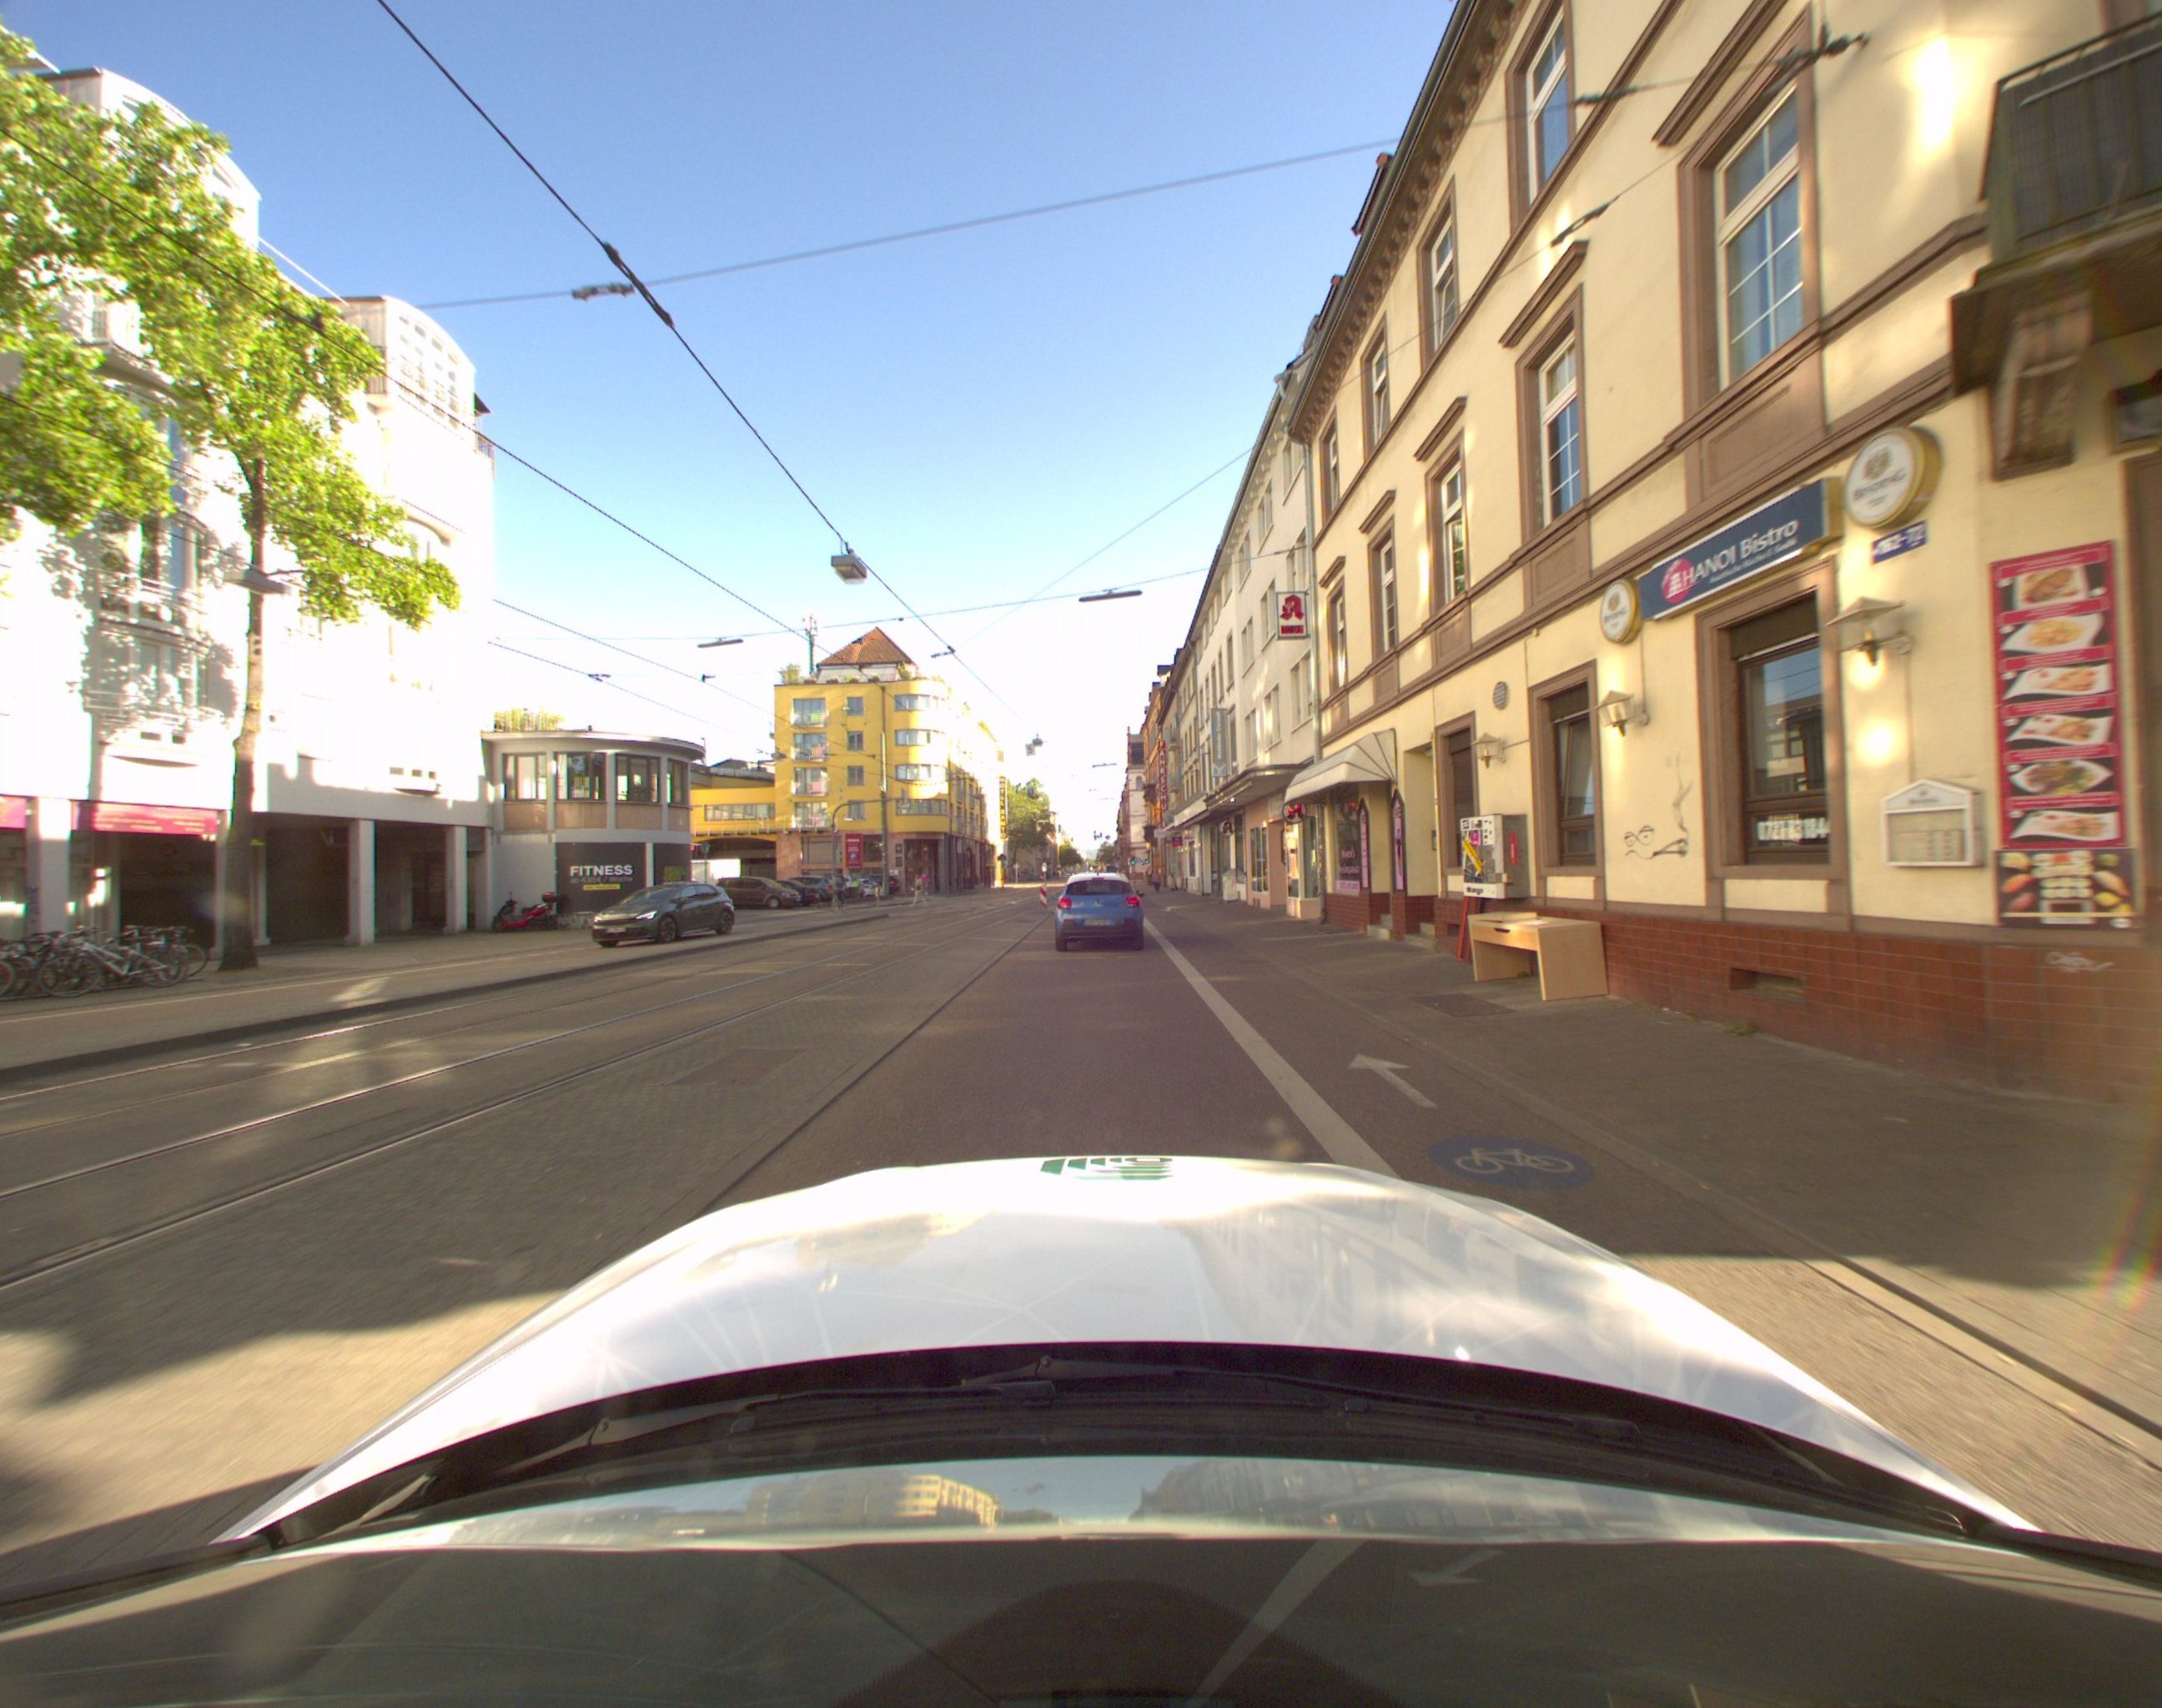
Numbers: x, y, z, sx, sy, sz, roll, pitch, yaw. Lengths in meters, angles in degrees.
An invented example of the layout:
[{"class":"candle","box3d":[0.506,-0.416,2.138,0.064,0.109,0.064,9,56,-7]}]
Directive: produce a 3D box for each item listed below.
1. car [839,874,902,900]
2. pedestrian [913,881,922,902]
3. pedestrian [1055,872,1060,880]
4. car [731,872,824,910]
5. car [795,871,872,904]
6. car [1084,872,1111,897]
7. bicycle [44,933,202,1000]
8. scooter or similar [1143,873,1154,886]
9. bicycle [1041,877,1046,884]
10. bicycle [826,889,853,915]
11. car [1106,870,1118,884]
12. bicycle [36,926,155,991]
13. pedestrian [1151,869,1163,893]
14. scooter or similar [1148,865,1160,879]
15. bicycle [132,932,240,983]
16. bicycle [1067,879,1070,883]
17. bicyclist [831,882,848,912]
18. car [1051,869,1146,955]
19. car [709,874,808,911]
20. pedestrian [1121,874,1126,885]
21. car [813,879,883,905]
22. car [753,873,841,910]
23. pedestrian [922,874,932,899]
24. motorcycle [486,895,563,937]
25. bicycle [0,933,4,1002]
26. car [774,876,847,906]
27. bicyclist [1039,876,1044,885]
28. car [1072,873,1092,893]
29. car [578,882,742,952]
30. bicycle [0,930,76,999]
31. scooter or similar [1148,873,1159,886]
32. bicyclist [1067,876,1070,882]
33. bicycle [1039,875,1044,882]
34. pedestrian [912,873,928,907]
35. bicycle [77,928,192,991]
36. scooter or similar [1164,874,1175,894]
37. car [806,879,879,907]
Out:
[{"class":"car","box3d":[-15.847,2.475,61.477,4.219,1.812,1.785,-2,-2,0]},{"class":"pedestrian","box3d":[-12.845,2.936,63.937,0.570,1.617,0.499,-2,-2,-1]},{"class":"pedestrian","box3d":[-4.919,4.624,171.404,0.678,1.765,1.029,-2,-1,11]},{"class":"car","box3d":[-16.062,1.993,43.191,4.219,1.812,1.785,-2,-4,0]},{"class":"car","box3d":[-15.407,2.096,50.824,4.219,1.812,1.785,-3,-4,0]},{"class":"car","box3d":[1.029,1.971,52.436,1.662,1.478,3.999,-3,-2,0]},{"class":"bicycle","box3d":[-16.435,1.908,14.043,0.467,0.932,1.759,-2,-1,11]},{"class":"scooter or similar","box3d":[6.467,2.437,77.615,0.895,1.148,0.547,-6,-2,-1]},{"class":"bicycle","box3d":[-6.162,4.369,134.054,0.728,1.065,2.061,-2,-1,0]},{"class":"bicycle","box3d":[-11.372,2.248,38.400,0.561,1.123,2.004,-2,-1,2]},{"class":"car","box3d":[5.986,4.460,157.616,2.263,2.437,5.720,-2,-2,1]},{"class":"bicycle","box3d":[-17.716,1.883,14.647,1.862,1.077,0.466,-2,-2,9]},{"class":"pedestrian","box3d":[5.052,1.796,54.159,0.646,1.560,0.781,-2,-1,0]},{"class":"scooter or similar","box3d":[6.831,1.699,76.558,0.930,1.148,0.650,-6,-2,-1]},{"class":"bicycle","box3d":[-17.495,2.017,15.921,1.737,0.932,0.572,-2,-1,10]},{"class":"bicycle","box3d":[-3.118,6.747,203.818,0.690,1.120,2.083,-2,-1,0]},{"class":"bicyclist","box3d":[-11.387,2.013,38.434,0.560,1.361,0.719,-2,-1,1]},{"class":"car","box3d":[0.384,1.113,16.950,1.668,1.477,4.001,-3,-1,2]},{"class":"car","box3d":[-16.133,1.910,40.902,4.219,1.763,1.785,-1,-2,0]},{"class":"pedestrian","box3d":[7.419,4.452,141.864,0.703,1.783,0.672,1,-4,-2]},{"class":"car","box3d":[-16.017,2.637,56.177,4.219,1.548,1.785,-3,-4,0]},{"class":"car","box3d":[-16.009,2.119,46.014,4.219,1.812,1.785,-3,-3,0]},{"class":"pedestrian","box3d":[-12.111,2.555,64.073,0.635,1.947,0.709,-2,-2,-1]},{"class":"motorcycle","box3d":[-18.173,2.017,26.629,1.979,1.263,0.673,-1,-1,-5]},{"class":"bicycle","box3d":[-18.092,1.834,12.796,1.864,1.077,0.512,-2,-2,6]},{"class":"car","box3d":[-16.089,2.175,48.589,3.676,1.673,1.785,-2,-1,1]},{"class":"bicyclist","box3d":[-6.277,4.192,128.703,0.722,1.381,1.227,-1,-1,0]},{"class":"car","box3d":[0.099,3.054,86.055,1.987,2.014,3.999,-3,-2,0]},{"class":"car","box3d":[-11.171,1.611,22.008,1.770,1.540,4.275,-3,-1,7]},{"class":"bicycle","box3d":[-17.881,1.856,13.631,1.862,1.077,0.466,-2,-2,9]},{"class":"scooter or similar","box3d":[6.701,2.360,74.982,0.788,1.148,0.789,-6,-2,-1]},{"class":"bicyclist","box3d":[-3.128,6.223,203.703,0.680,1.483,0.778,-2,-2,0]},{"class":"bicycle","box3d":[-6.275,3.903,128.674,0.728,1.088,2.061,-2,-1,0]},{"class":"pedestrian","box3d":[-8.535,1.881,43.095,0.712,1.764,0.778,-1,-1,-6]},{"class":"bicycle","box3d":[-17.493,1.945,15.052,1.862,1.077,0.466,-2,-2,9]},{"class":"scooter or similar","box3d":[5.769,1.933,53.035,0.407,1.281,1.289,-2,-1,17]},{"class":"car","box3d":[-15.676,2.563,53.609,4.219,1.610,1.785,-3,-4,0]}]
